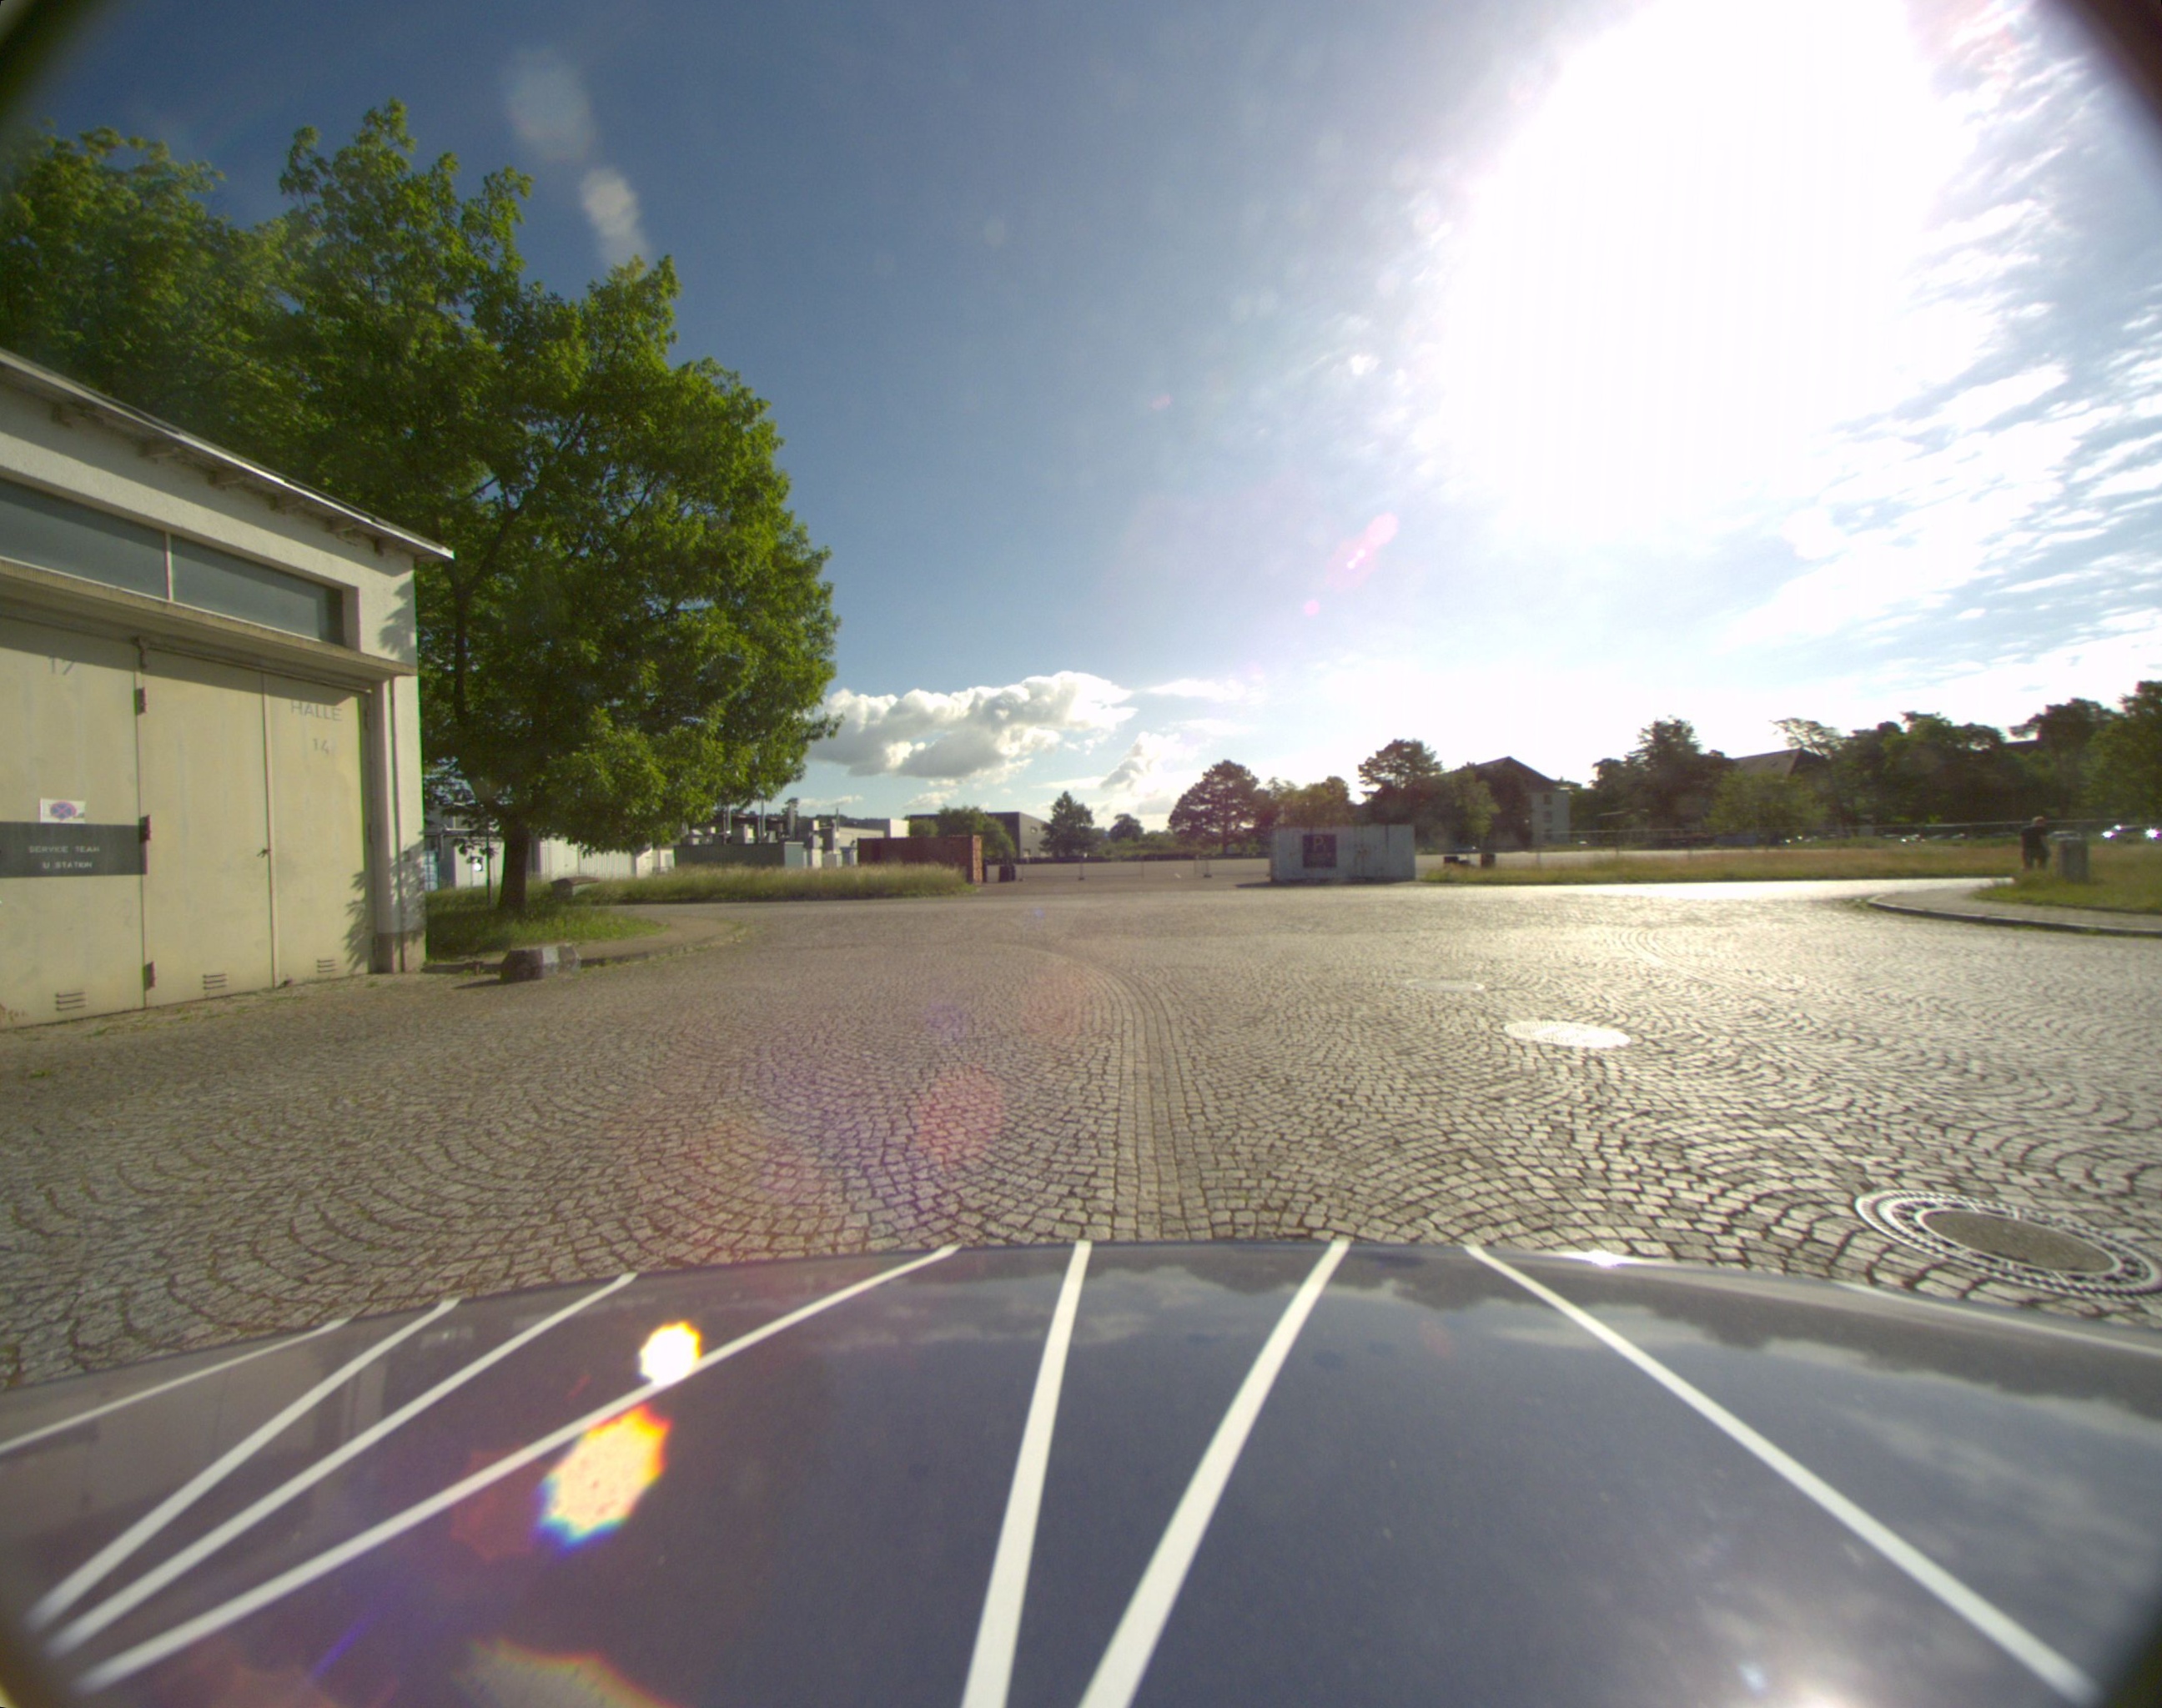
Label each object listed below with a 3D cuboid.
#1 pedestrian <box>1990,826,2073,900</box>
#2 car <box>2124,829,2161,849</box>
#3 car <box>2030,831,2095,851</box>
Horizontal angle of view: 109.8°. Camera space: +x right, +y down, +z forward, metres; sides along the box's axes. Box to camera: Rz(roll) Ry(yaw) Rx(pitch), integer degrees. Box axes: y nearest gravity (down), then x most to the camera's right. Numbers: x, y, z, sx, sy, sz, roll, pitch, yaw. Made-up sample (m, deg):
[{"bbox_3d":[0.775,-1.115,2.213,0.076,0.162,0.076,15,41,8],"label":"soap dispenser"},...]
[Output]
[{"bbox_3d":[25.256,0.238,20.207,1.141,1.903,0.800,-1,1,4],"label":"pedestrian"},{"bbox_3d":[107.843,-1.505,76.054,3.996,1.936,2.000,-1,1,1],"label":"car"},{"bbox_3d":[108.281,-1.399,83.845,3.994,2.001,2.002,-2,-2,10],"label":"car"}]
